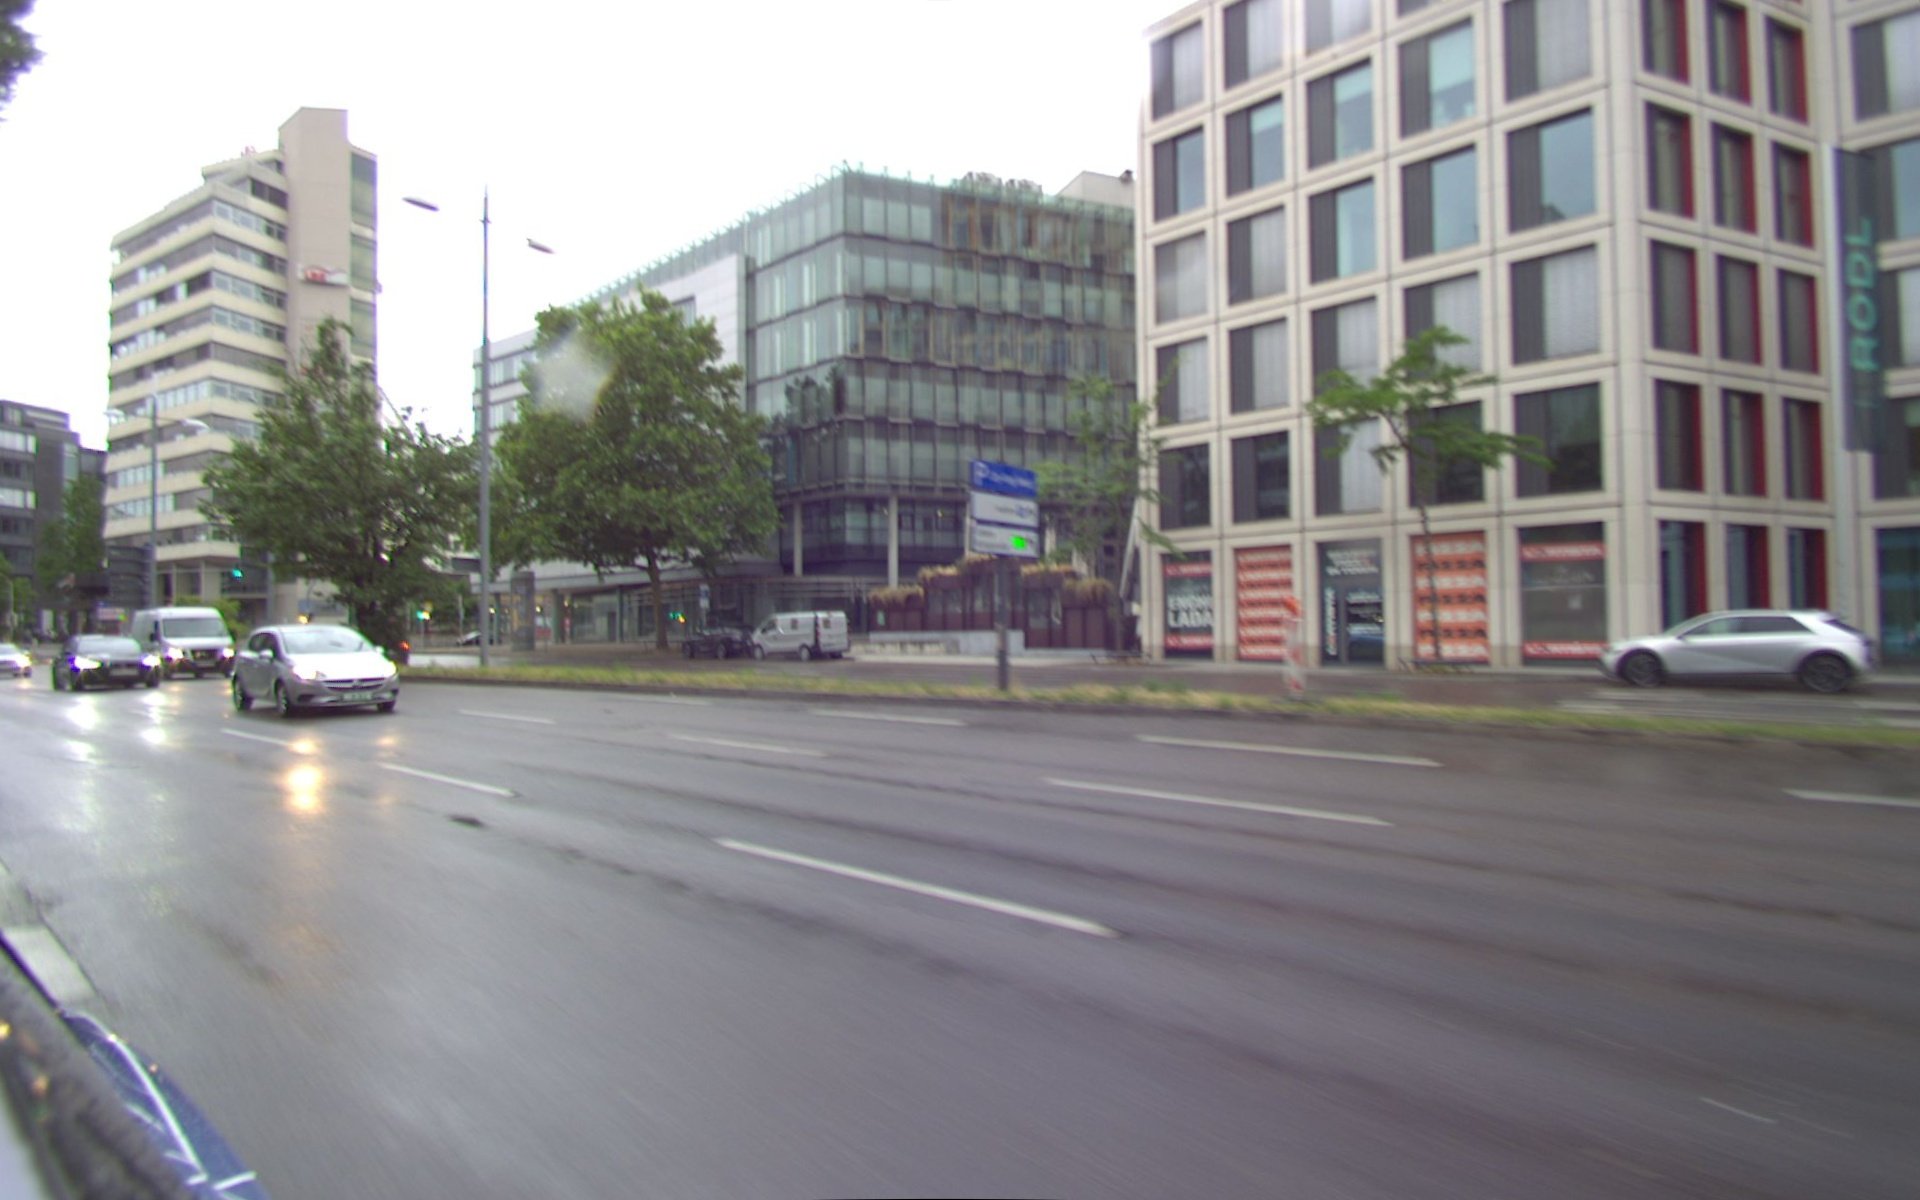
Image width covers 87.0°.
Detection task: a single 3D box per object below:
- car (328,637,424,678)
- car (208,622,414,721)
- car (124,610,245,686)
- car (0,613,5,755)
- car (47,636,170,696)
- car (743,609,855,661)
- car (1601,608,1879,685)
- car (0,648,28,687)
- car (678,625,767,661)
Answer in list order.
[{"bbox_3d":[-25.246,2.449,43.671,4.866,1.644,1.809,-2,-1,37],"label":"car"},{"bbox_3d":[-11.248,1.157,17.446,4.122,1.490,1.753,-2,-1,38],"label":"car"},{"bbox_3d":[-26.760,1.593,34.831,5.716,2.403,2.230,-2,-1,41],"label":"car"},{"bbox_3d":[-10.308,0.899,9.455,1.775,1.564,4.395,0,-1,-40],"label":"car"},{"bbox_3d":[-22.860,1.706,27.121,4.238,1.412,1.880,-2,-1,40],"label":"car"},{"bbox_3d":[-6.808,1.454,42.503,4.913,2.029,1.973,-2,-1,41],"label":"car"},{"bbox_3d":[15.913,0.959,20.839,4.372,1.435,1.679,-2,-4,42],"label":"car"},{"bbox_3d":[-40.643,2.829,42.692,4.001,1.519,1.760,-2,-1,44],"label":"car"},{"bbox_3d":[-10.810,1.931,45.942,4.284,1.541,1.779,-2,-1,41],"label":"car"}]
